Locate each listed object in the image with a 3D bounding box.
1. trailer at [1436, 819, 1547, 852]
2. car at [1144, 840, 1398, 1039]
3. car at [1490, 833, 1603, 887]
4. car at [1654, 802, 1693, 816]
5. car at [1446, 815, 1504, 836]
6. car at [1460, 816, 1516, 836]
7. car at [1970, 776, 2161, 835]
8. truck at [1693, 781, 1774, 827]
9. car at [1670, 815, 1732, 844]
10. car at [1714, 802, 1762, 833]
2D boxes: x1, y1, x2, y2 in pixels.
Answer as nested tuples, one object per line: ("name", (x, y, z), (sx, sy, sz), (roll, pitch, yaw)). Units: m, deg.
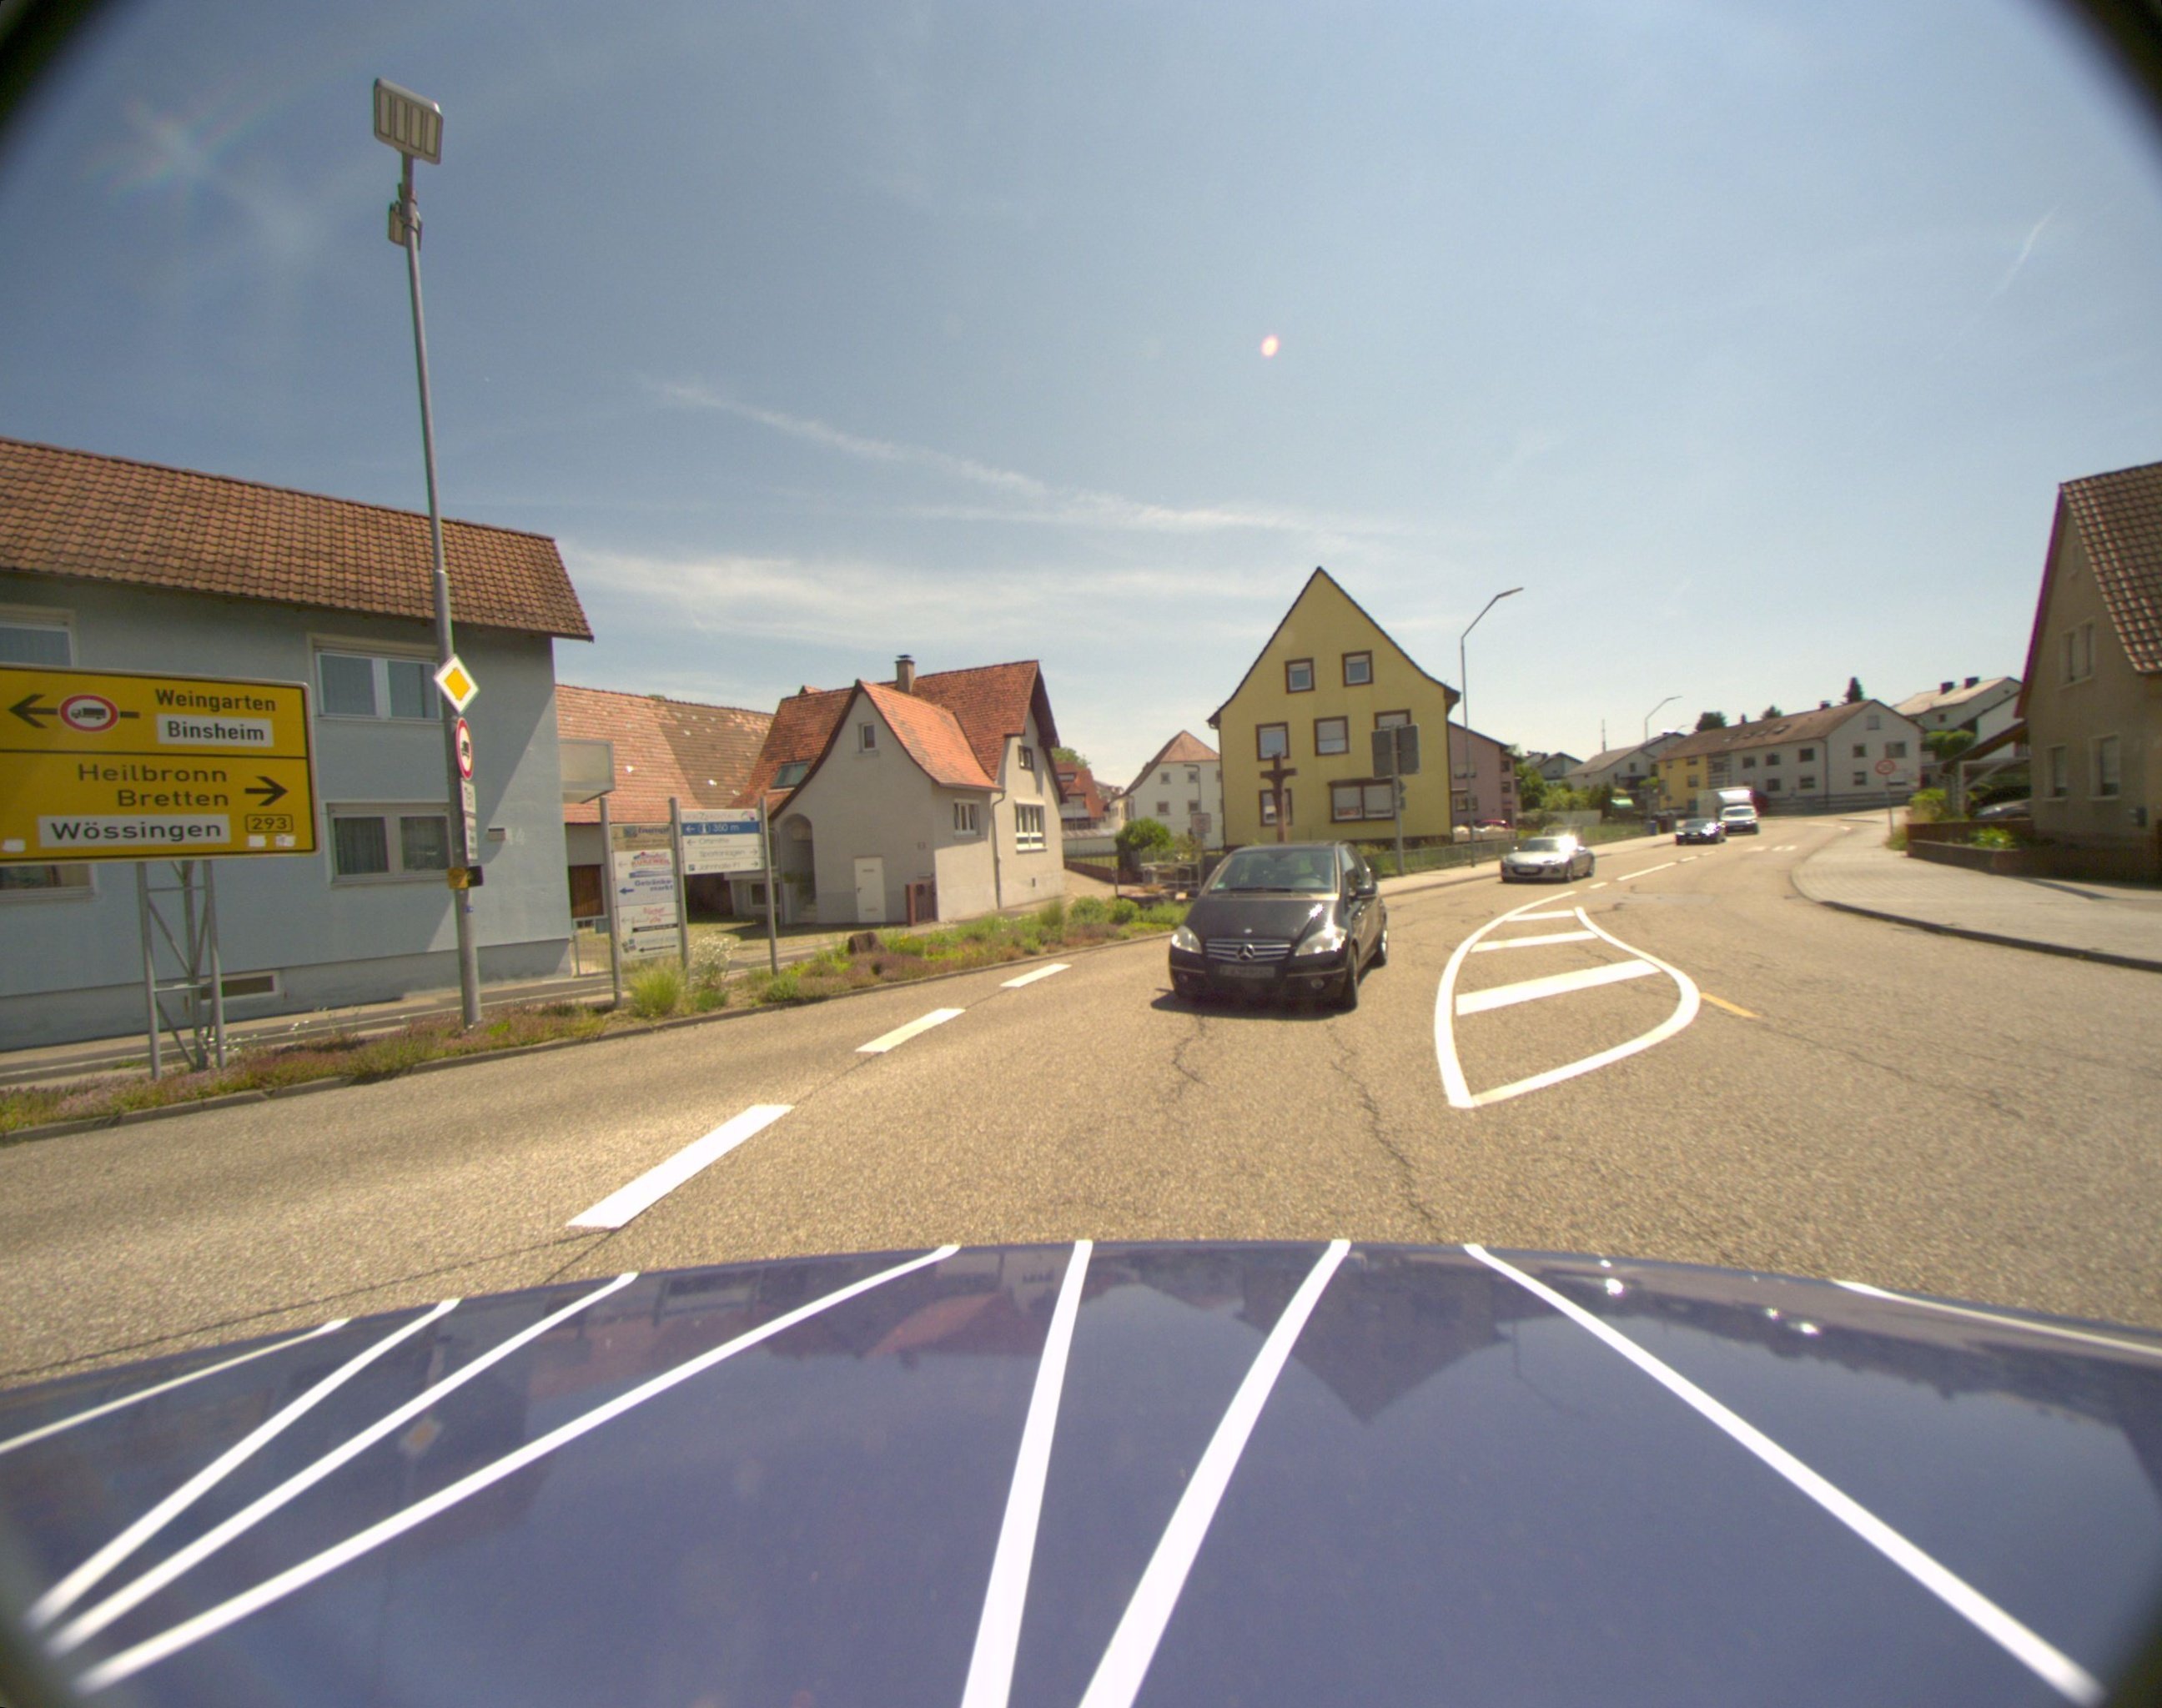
("trailer", (23.698, -1.083, 44.109), (5.353, 1.537, 2.140), (-4, 1, 18))
("car", (2.420, 0.732, 8.685), (1.761, 1.583, 4.204), (-3, 1, 28))
("car", (13.578, 0.111, 22.098), (4.007, 1.307, 1.809), (-4, 4, -43))
("car", (74.312, -5.645, 95.331), (1.734, 1.543, 4.188), (-4, 2, 4))
("car", (33.240, -2.400, 64.182), (4.117, 1.539, 1.853), (-3, 2, 20))
("car", (32.932, -2.295, 61.584), (3.828, 1.478, 1.763), (-1, 2, 24))
("car", (31.852, -1.536, 24.472), (1.868, 1.629, 4.126), (-5, 3, -41))
("truck", (57.505, -4.304, 67.209), (3.198, 3.579, 8.318), (-4, 1, 25))
("car", (33.668, -1.342, 41.248), (4.007, 1.368, 1.893), (-4, 1, -41))
("car", (44.572, -2.493, 51.489), (5.045, 1.897, 1.864), (-4, 1, -43))
